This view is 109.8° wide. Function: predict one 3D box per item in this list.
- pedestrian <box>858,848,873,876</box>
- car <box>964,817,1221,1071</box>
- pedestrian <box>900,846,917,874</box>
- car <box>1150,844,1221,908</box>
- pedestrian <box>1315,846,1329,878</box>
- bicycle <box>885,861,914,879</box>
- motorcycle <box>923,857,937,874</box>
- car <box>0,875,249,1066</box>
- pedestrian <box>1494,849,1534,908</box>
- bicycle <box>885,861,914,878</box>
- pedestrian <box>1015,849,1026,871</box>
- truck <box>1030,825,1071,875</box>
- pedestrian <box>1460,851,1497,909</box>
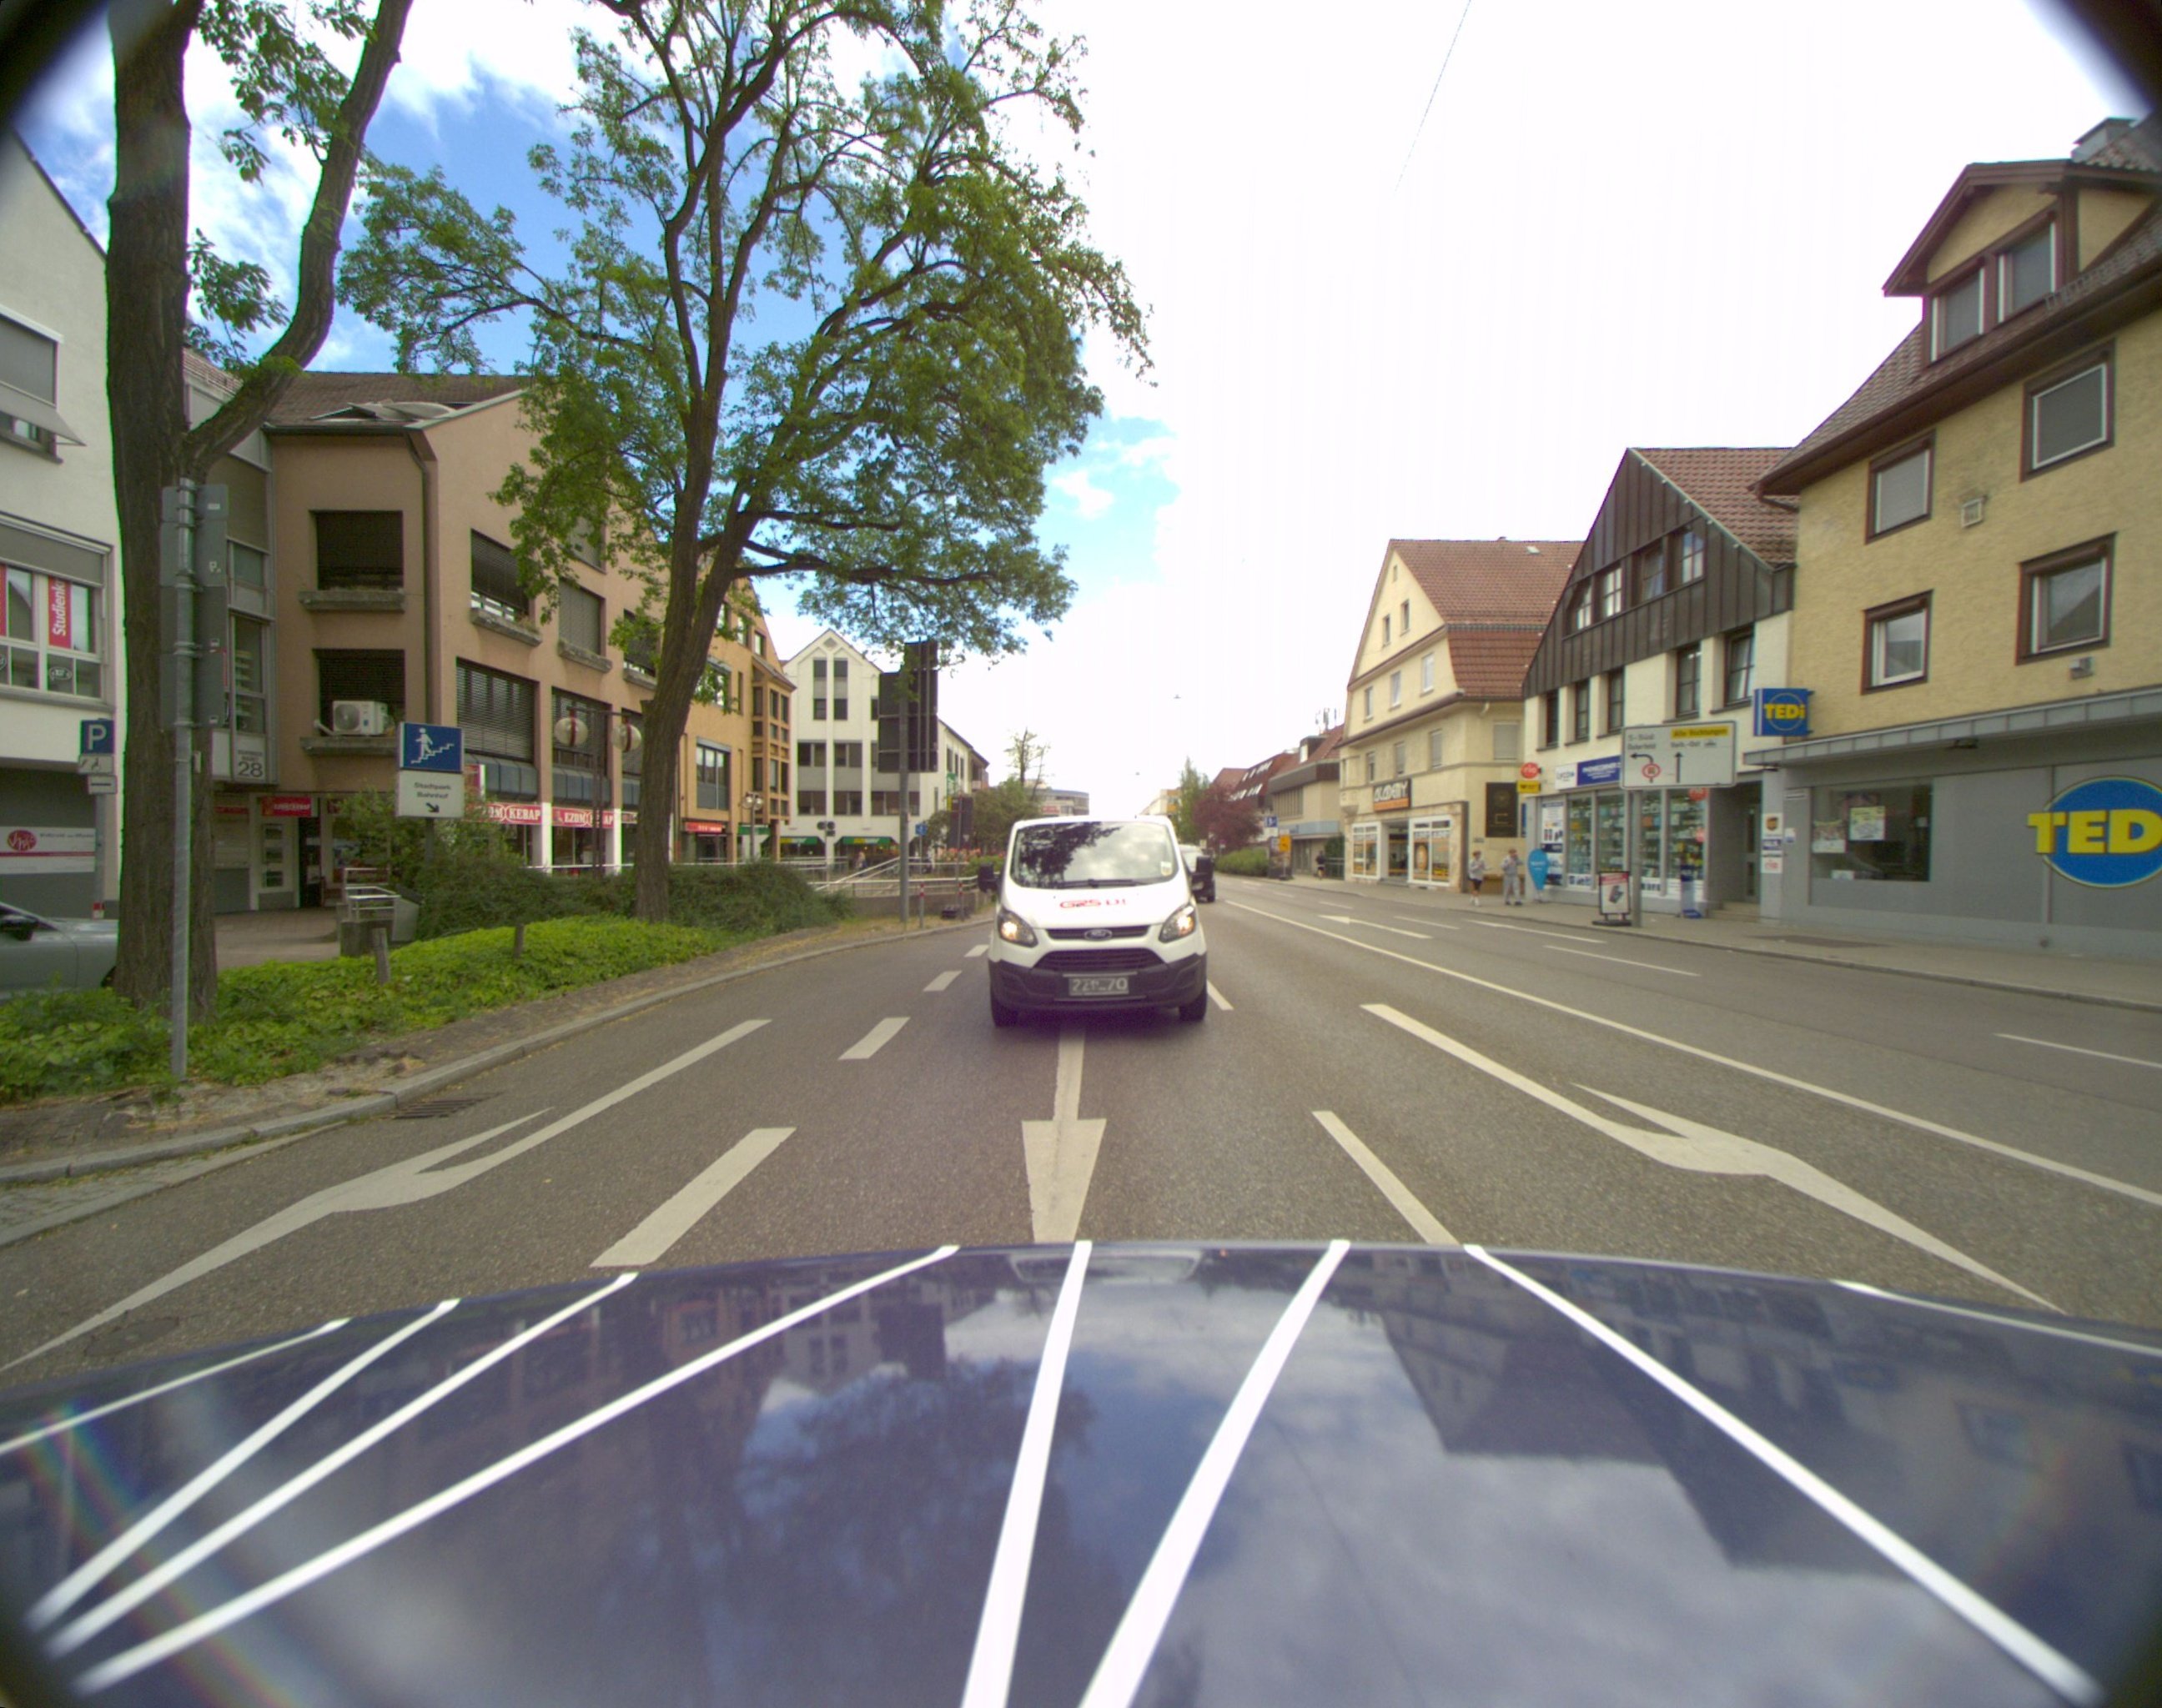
[{"bbox_3d":[-14.048,0.514,49.564,0.887,1.747,0.943,0,1,-11],"label":"pedestrian"},{"bbox_3d":[0.108,0.680,8.423,1.964,1.948,5.164,0,0,0],"label":"car"},{"bbox_3d":[-11.386,0.370,50.226,0.871,1.812,0.785,-2,1,-3],"label":"pedestrian"},{"bbox_3d":[3.328,0.642,24.906,1.748,1.844,4.634,-2,0,1],"label":"car"},{"bbox_3d":[14.478,0.456,45.695,0.551,1.878,0.592,-2,1,-3],"label":"pedestrian"},{"bbox_3d":[-10.210,0.878,42.707,1.594,0.996,0.414,0,1,-13],"label":"bicycle"},{"bbox_3d":[-9.693,0.708,48.749,0.464,1.062,1.995,0,0,1],"label":"motorcycle"},{"bbox_3d":[-10.332,1.042,6.168,1.999,1.586,4.762,0,0,-2],"label":"car"},{"bbox_3d":[12.556,0.707,22.070,0.689,1.660,0.709,-3,1,1],"label":"pedestrian"},{"bbox_3d":[-10.361,0.896,43.368,1.594,0.963,0.461,0,1,-14],"label":"bicycle"},{"bbox_3d":[-4.328,0.398,54.250,0.653,1.568,0.684,-1,1,1],"label":"pedestrian"},{"bbox_3d":[-2.156,-0.325,57.398,2.446,3.464,8.346,-2,1,1],"label":"truck"},{"bbox_3d":[11.712,0.749,22.405,0.689,1.680,0.742,-1,1,1],"label":"pedestrian"}]
